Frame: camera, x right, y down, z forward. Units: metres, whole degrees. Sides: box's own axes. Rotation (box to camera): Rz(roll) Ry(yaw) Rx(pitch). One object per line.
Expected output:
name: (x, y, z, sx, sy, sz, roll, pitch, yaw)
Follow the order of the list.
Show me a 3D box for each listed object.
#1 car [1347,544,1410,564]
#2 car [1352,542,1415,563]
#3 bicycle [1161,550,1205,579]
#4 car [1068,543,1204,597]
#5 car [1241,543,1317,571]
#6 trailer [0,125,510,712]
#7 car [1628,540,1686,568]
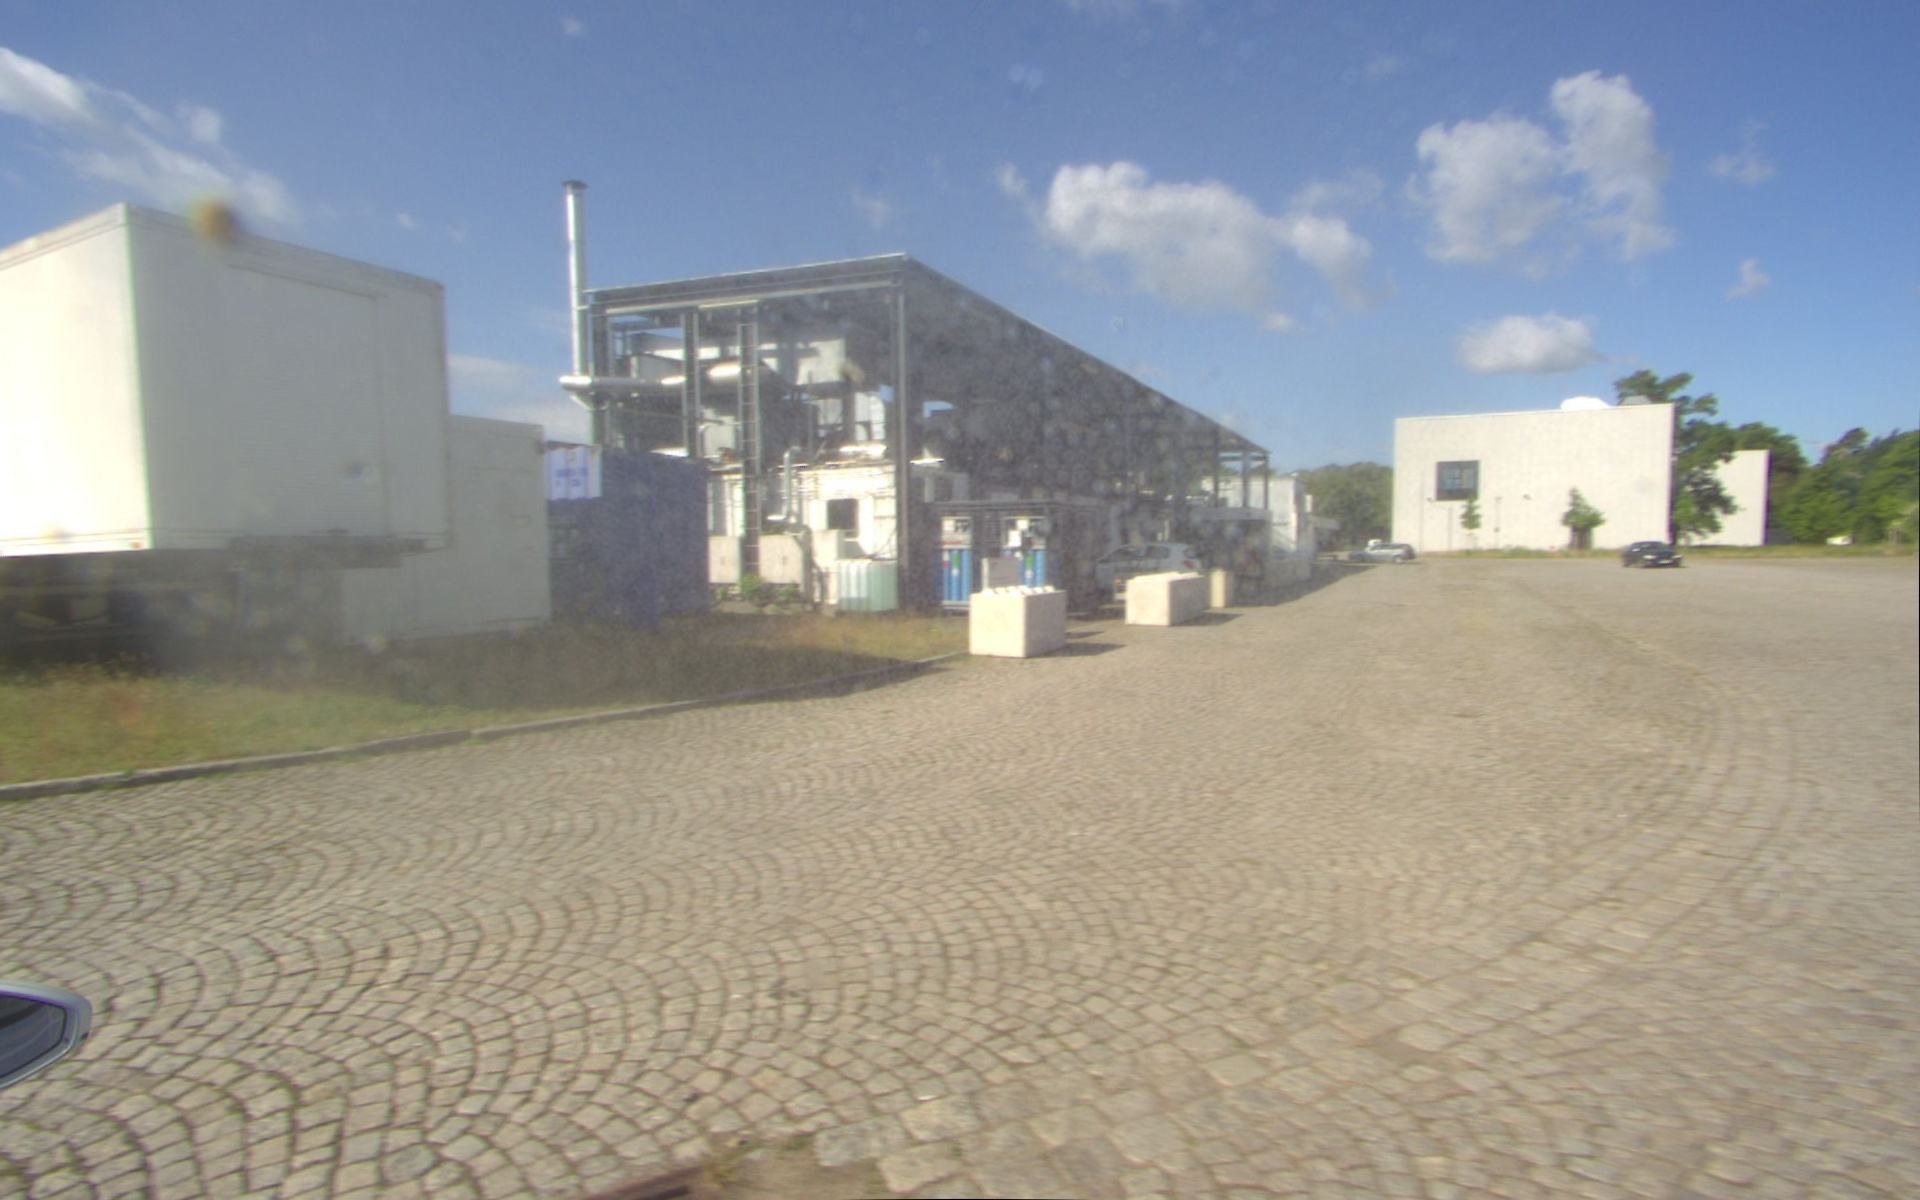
car: (30.366, -3.335, 72.679, 4.118, 1.423, 1.734, 1, 4, 25)
car: (31.938, -3.572, 75.490, 4.286, 1.490, 1.734, 1, 4, 25)
bicycle: (8.981, -1.435, 40.290, 1.643, 1.152, 0.483, 1, 4, 25)
car: (4.816, -0.851, 27.396, 3.414, 1.395, 1.605, 1, 4, 23)
car: (16.626, -2.250, 52.160, 3.635, 1.428, 1.669, 1, 4, 23)
trailer: (-9.603, -1.385, 10.605, 10.715, 3.966, 2.768, 1, 4, 28)
car: (37.332, -2.486, 53.722, 1.711, 1.449, 4.060, 1, 3, 24)
